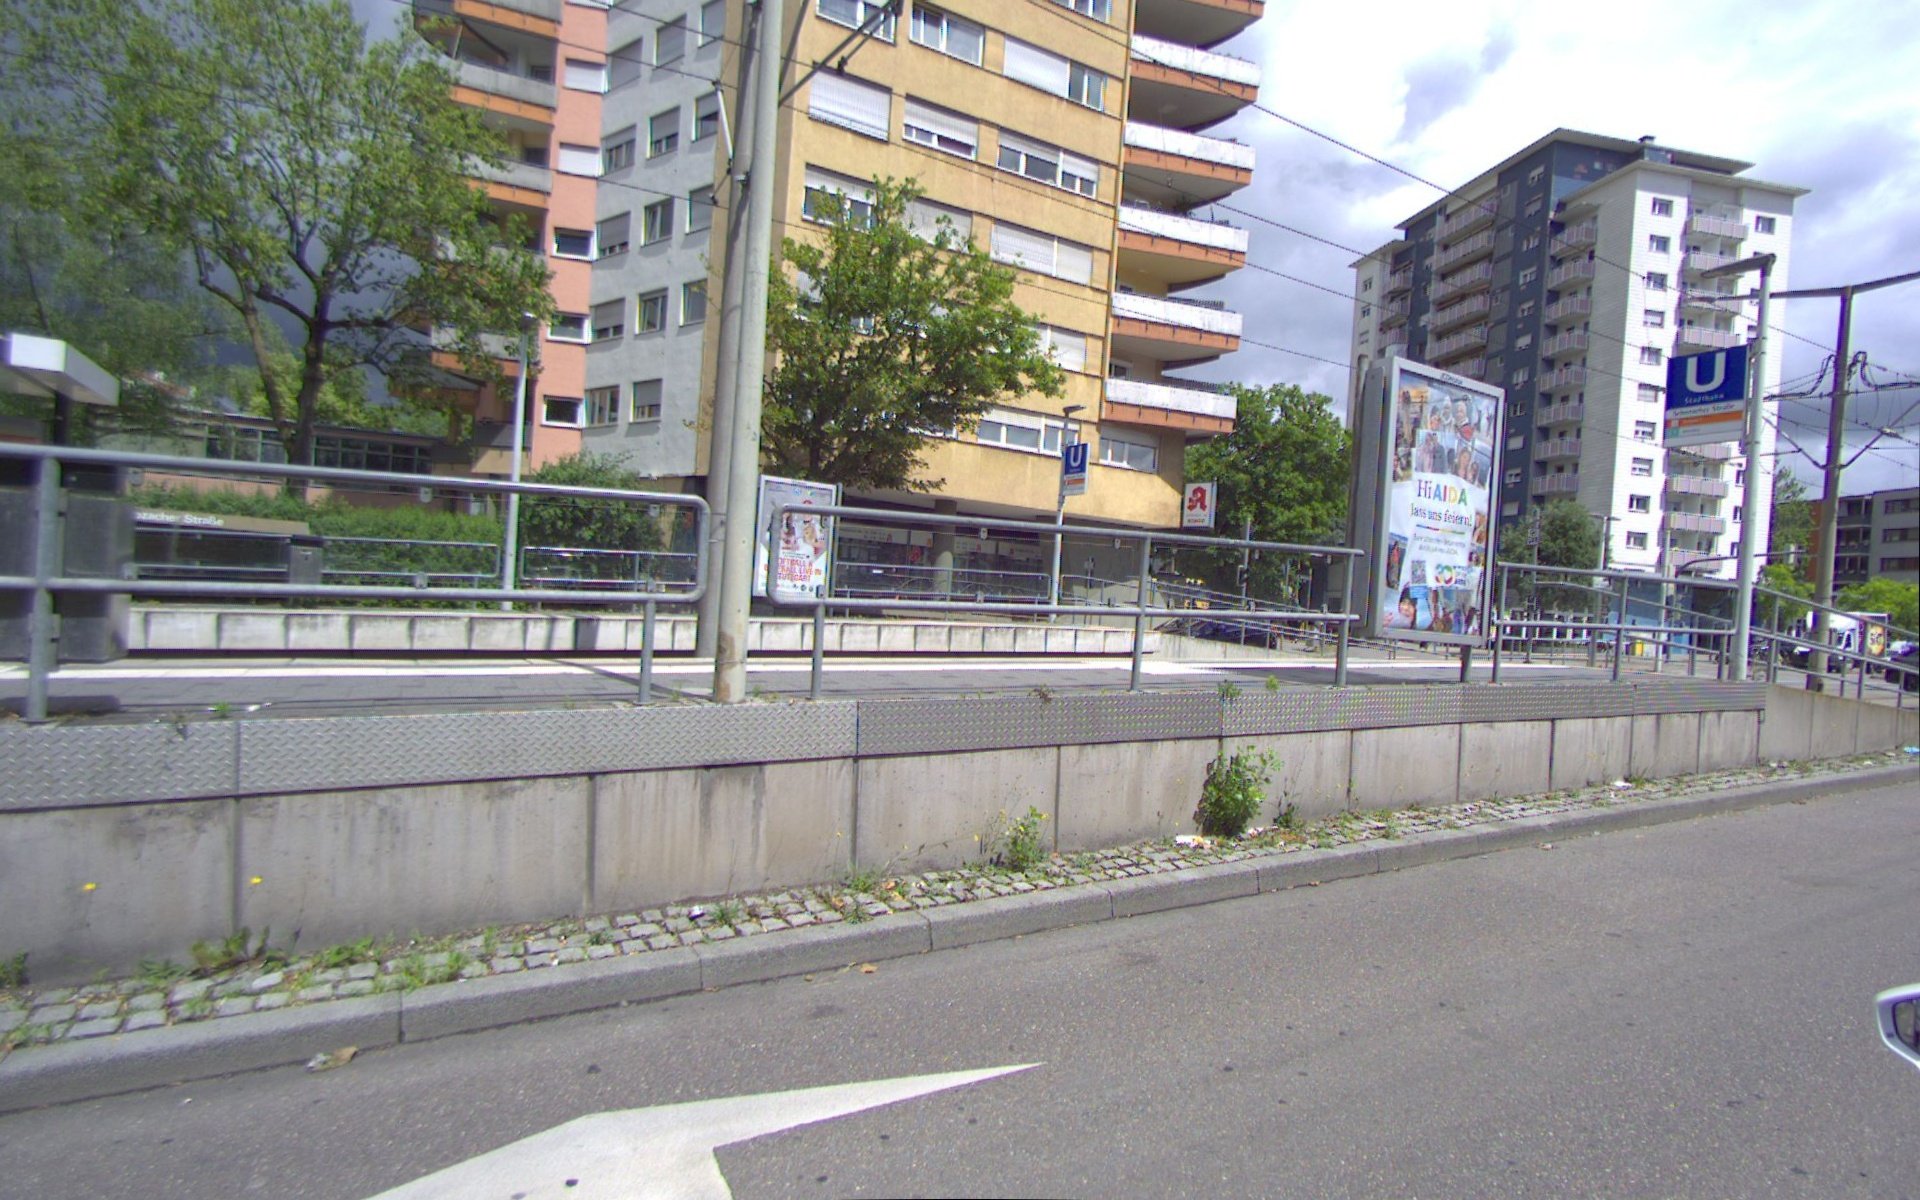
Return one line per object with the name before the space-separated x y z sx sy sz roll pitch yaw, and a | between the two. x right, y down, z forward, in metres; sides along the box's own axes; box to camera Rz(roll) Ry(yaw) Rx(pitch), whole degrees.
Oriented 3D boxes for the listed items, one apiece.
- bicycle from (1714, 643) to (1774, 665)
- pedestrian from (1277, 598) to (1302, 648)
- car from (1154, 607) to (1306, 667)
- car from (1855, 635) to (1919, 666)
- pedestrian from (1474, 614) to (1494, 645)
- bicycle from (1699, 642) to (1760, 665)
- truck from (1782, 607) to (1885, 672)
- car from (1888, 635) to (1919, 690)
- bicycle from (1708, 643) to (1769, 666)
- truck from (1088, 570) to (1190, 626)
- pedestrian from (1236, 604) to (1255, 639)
bicycle | 43.419 2.987 55.674 2.521 1.022 0.754 4 0 33
pedestrian | 12.140 0.851 37.031 0.649 1.799 0.658 2 0 -1
car | 7.006 0.955 26.018 3.820 1.424 1.571 2 0 -30
car | 64.319 3.471 69.005 3.846 2.001 1.657 2 0 18
pedestrian | 35.961 2.029 68.939 0.831 2.040 0.861 2 0 -2
bicycle | 41.576 2.904 54.308 2.521 1.022 0.754 4 0 33
truck | 46.083 2.105 52.915 7.244 3.159 2.267 2 0 -34
car | 28.321 1.795 27.626 1.833 1.506 3.952 2 0 -41
bicycle | 42.559 2.957 54.981 2.521 1.022 0.754 4 0 33
truck | 7.985 -0.111 45.240 2.323 2.320 4.260 2 0 -29
pedestrian | 11.867 0.900 41.796 0.541 1.459 0.497 2 -1 -19
